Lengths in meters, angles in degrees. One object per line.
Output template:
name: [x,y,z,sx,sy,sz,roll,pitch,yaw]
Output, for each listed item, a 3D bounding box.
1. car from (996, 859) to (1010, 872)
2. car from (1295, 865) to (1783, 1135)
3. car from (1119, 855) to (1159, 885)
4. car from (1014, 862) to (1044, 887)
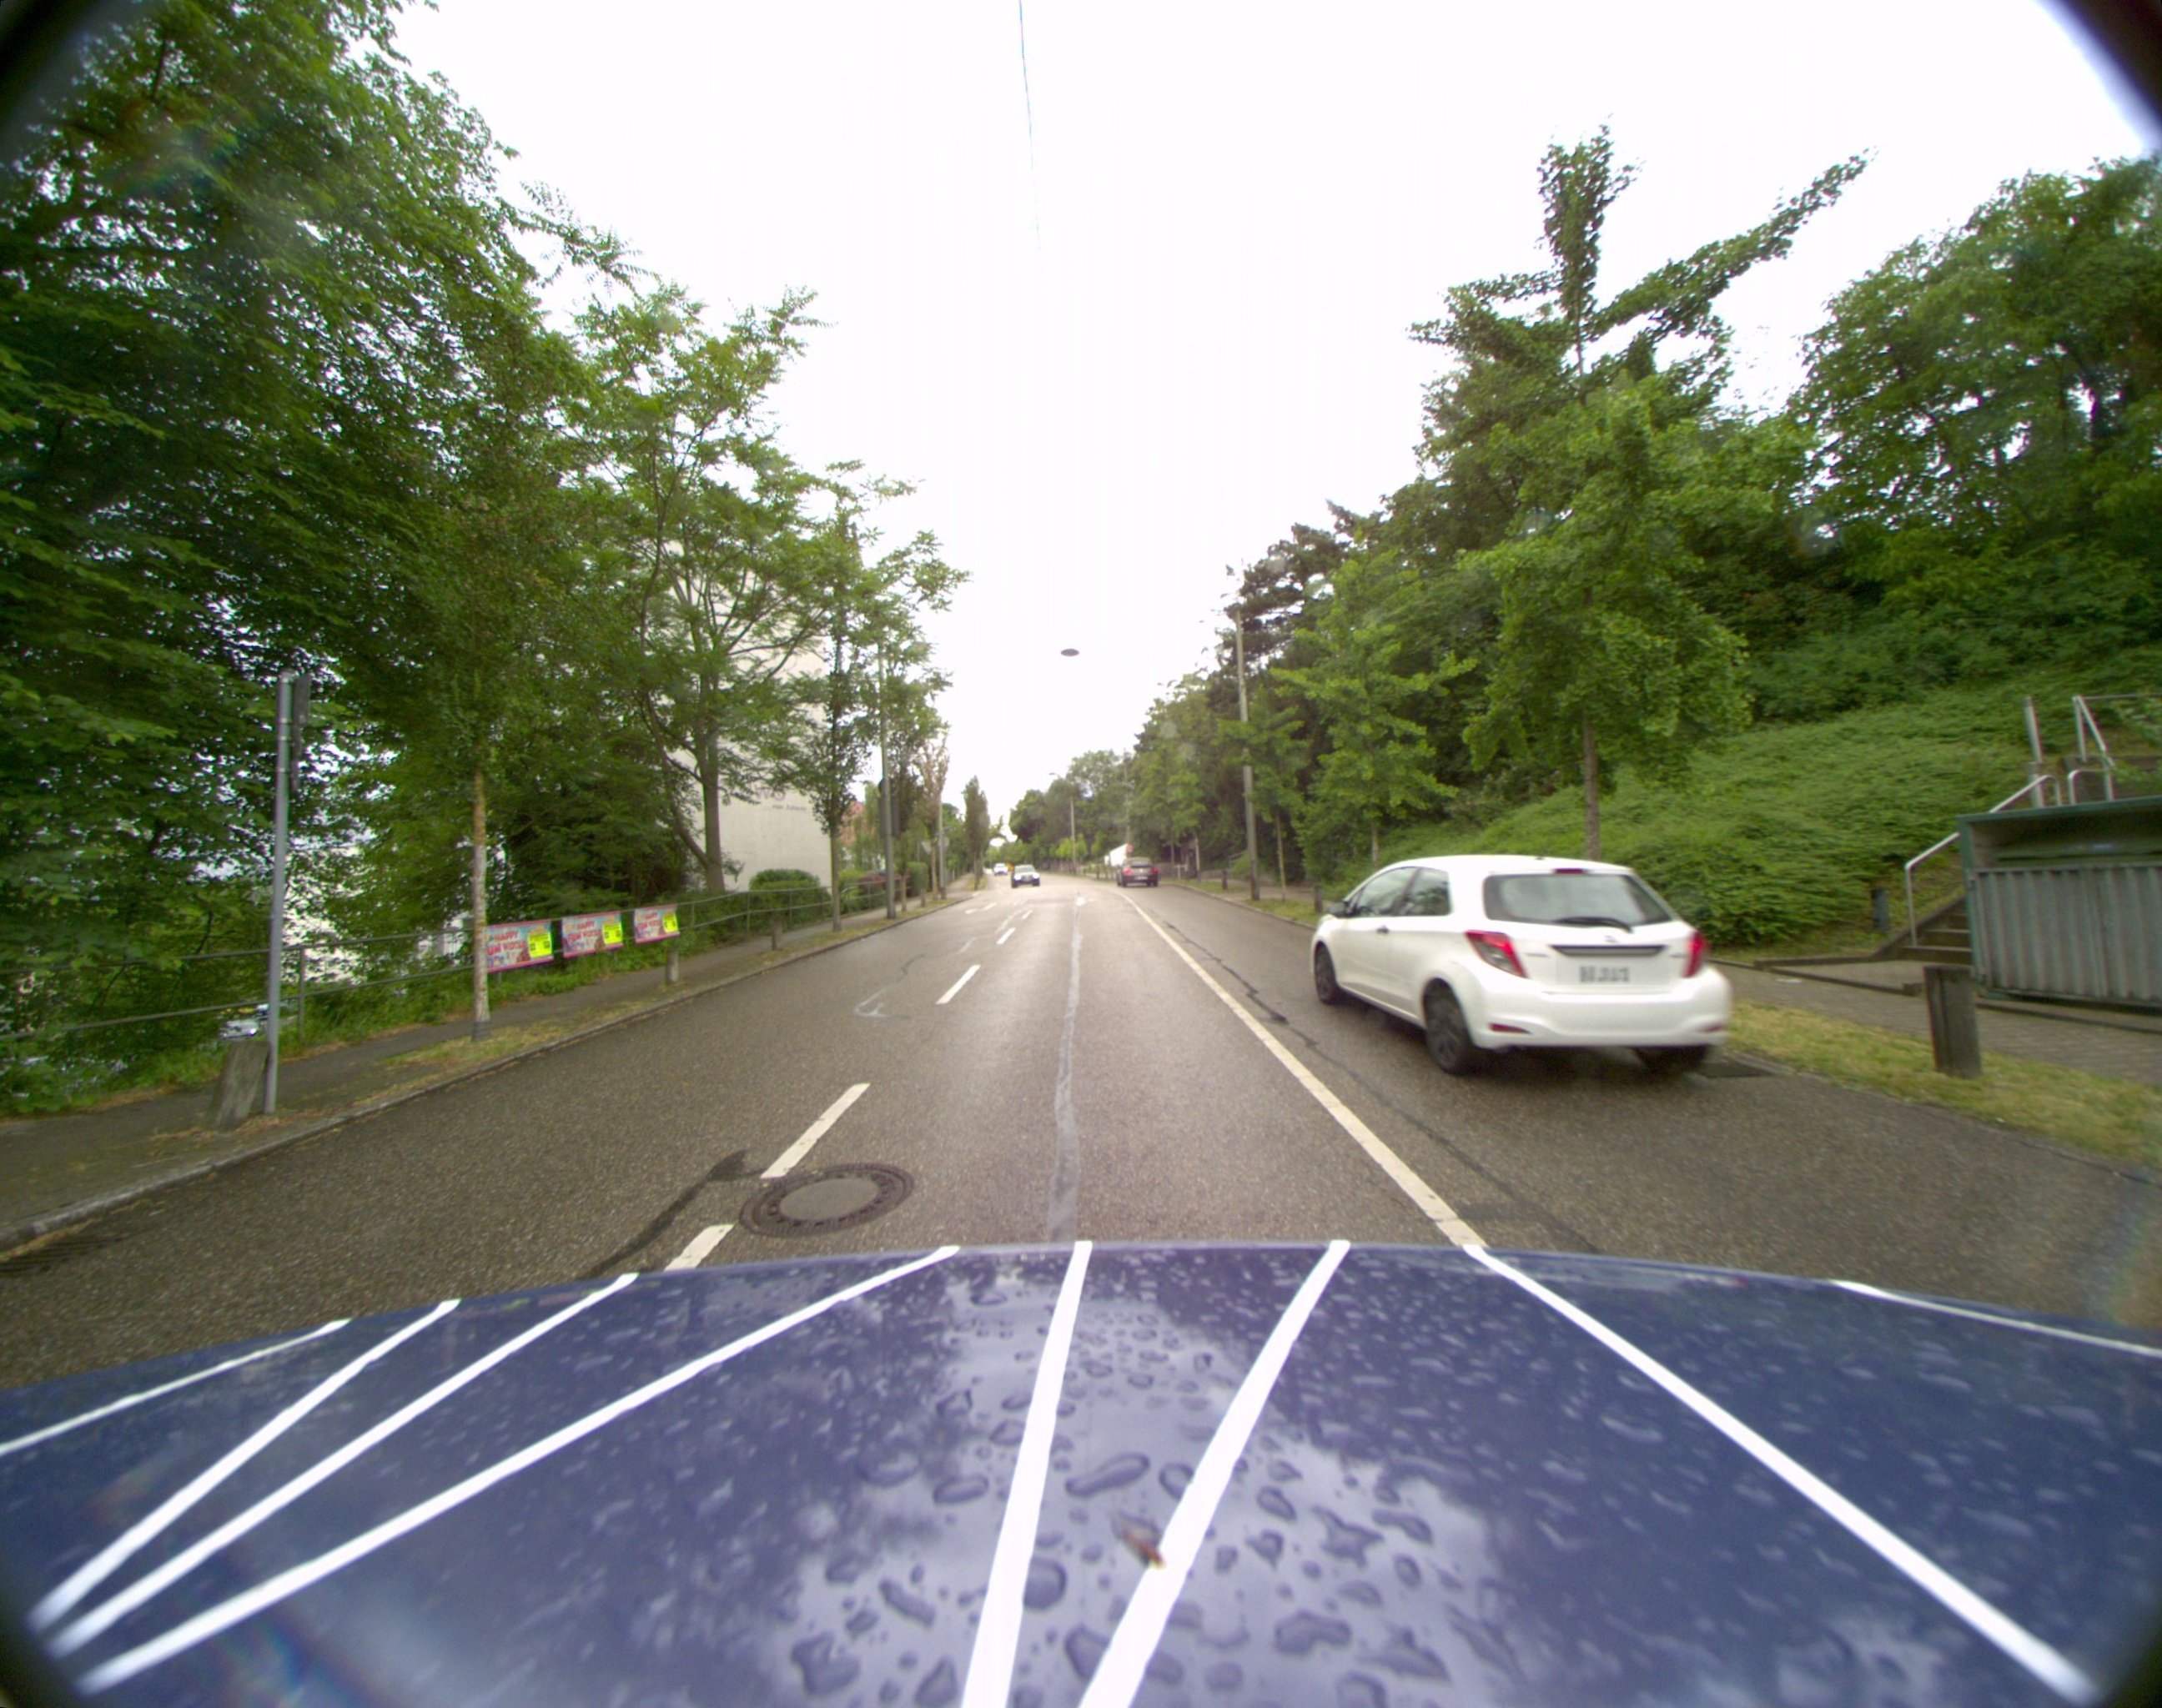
car: [-11.271,1.626,110.130,1.835,1.609,4.349,-3,1,-4]
car: [3.239,0.890,6.389,1.713,1.522,3.841,0,0,-1]
car: [2.957,0.786,39.338,1.782,1.440,4.000,0,0,0]
car: [-3.813,1.499,56.338,1.834,1.609,4.292,-3,1,0]
